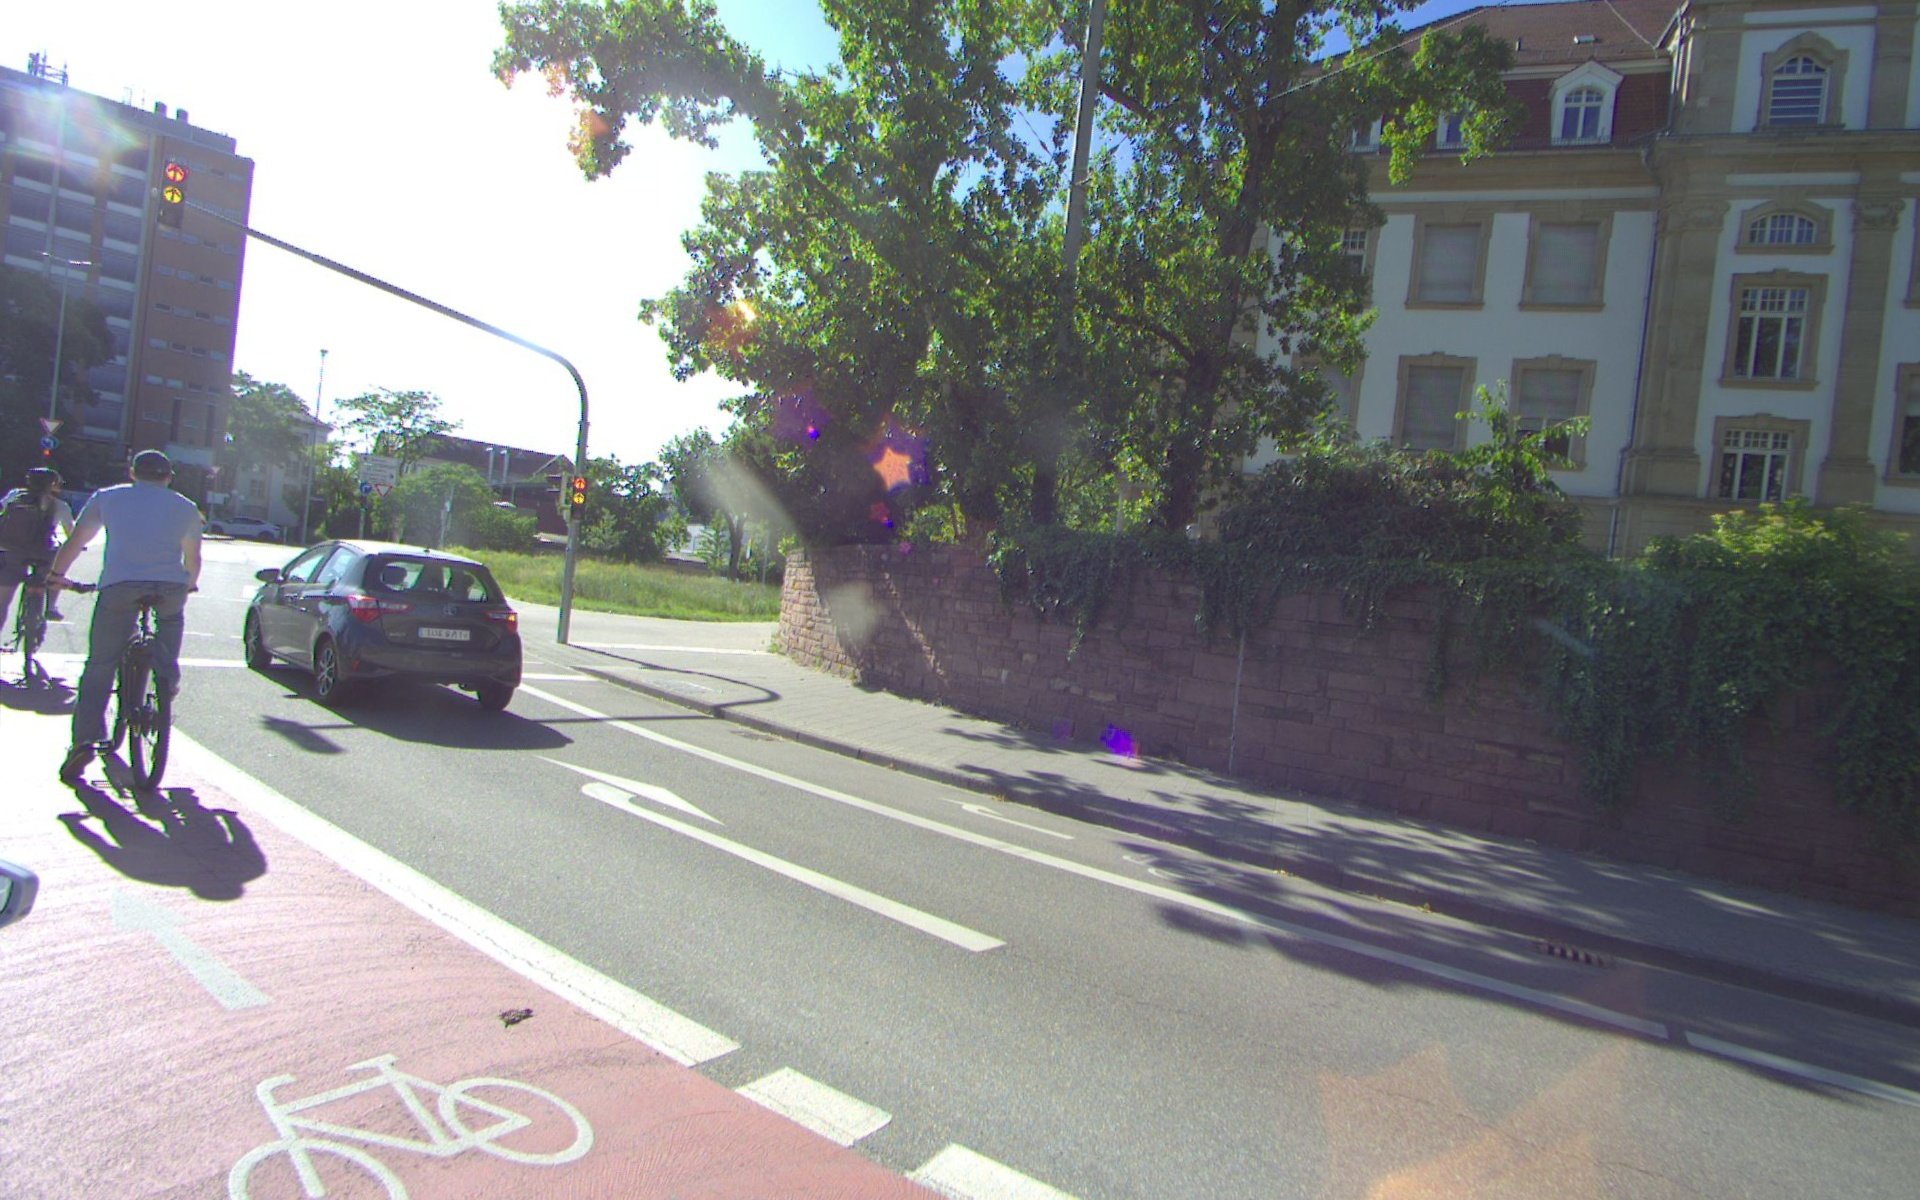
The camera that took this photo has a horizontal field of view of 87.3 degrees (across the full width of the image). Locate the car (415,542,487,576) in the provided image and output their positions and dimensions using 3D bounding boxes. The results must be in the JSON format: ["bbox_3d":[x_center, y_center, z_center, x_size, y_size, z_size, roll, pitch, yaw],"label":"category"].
[{"bbox_3d":[-39.591,-3.159,78.354,4.602,1.922,1.991,7,-2,-22],"label":"car"}]

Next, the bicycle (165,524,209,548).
[{"bbox_3d":[-62.076,-5.141,80.819,0.867,1.559,2.814,6,-2,8],"label":"bicycle"}]

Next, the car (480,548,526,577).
[{"bbox_3d":[-38.948,-3.145,85.847,1.872,1.957,3.864,6,-2,1],"label":"car"}]

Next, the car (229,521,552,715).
[{"bbox_3d":[-5.994,0.136,10.431,3.608,1.560,1.753,6,-1,42],"label":"car"}]

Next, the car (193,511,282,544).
[{"bbox_3d":[-46.120,-4.624,64.262,1.796,1.589,4.232,7,1,37],"label":"car"}]

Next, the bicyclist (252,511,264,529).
[{"bbox_3d":[-59.589,-6.788,85.359,0.613,1.462,0.813,6,1,-28],"label":"bicyclist"}]

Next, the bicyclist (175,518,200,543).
[{"bbox_3d":[-62.019,-5.601,80.823,0.867,1.818,1.162,6,-1,8],"label":"bicyclist"}]

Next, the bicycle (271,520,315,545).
[{"bbox_3d":[-53.089,-5.332,80.162,2.784,1.559,0.877,8,-2,-34],"label":"bicycle"}]

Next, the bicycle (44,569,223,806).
[{"bbox_3d":[-4.827,0.443,5.824,0.609,1.090,1.808,7,-1,-43],"label":"bicycle"}]

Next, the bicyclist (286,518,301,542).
[{"bbox_3d":[-53.096,-5.576,80.114,0.852,1.712,0.877,7,-1,-33],"label":"bicyclist"}]

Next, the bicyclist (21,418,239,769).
[{"bbox_3d":[-4.749,-0.029,5.747,0.747,1.797,1.002,7,0,-43],"label":"bicyclist"}]

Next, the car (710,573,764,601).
[{"bbox_3d":[-20.156,-1.150,91.030,4.310,2.037,1.988,7,-2,-27],"label":"car"}]

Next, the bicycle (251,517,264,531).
[{"bbox_3d":[-59.650,-6.416,85.407,0.603,1.106,1.660,6,1,-27],"label":"bicycle"}]

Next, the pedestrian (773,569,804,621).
[{"bbox_3d":[-6.433,-0.172,37.768,0.746,1.856,1.049,6,1,4],"label":"pedestrian"}]

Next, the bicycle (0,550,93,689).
[{"bbox_3d":[-7.964,0.127,8.549,0.721,0.971,1.860,8,-1,-44],"label":"bicycle"}]

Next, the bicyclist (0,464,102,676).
[{"bbox_3d":[-7.853,-0.267,8.494,0.720,1.645,1.042,8,-1,-44],"label":"bicyclist"}]
